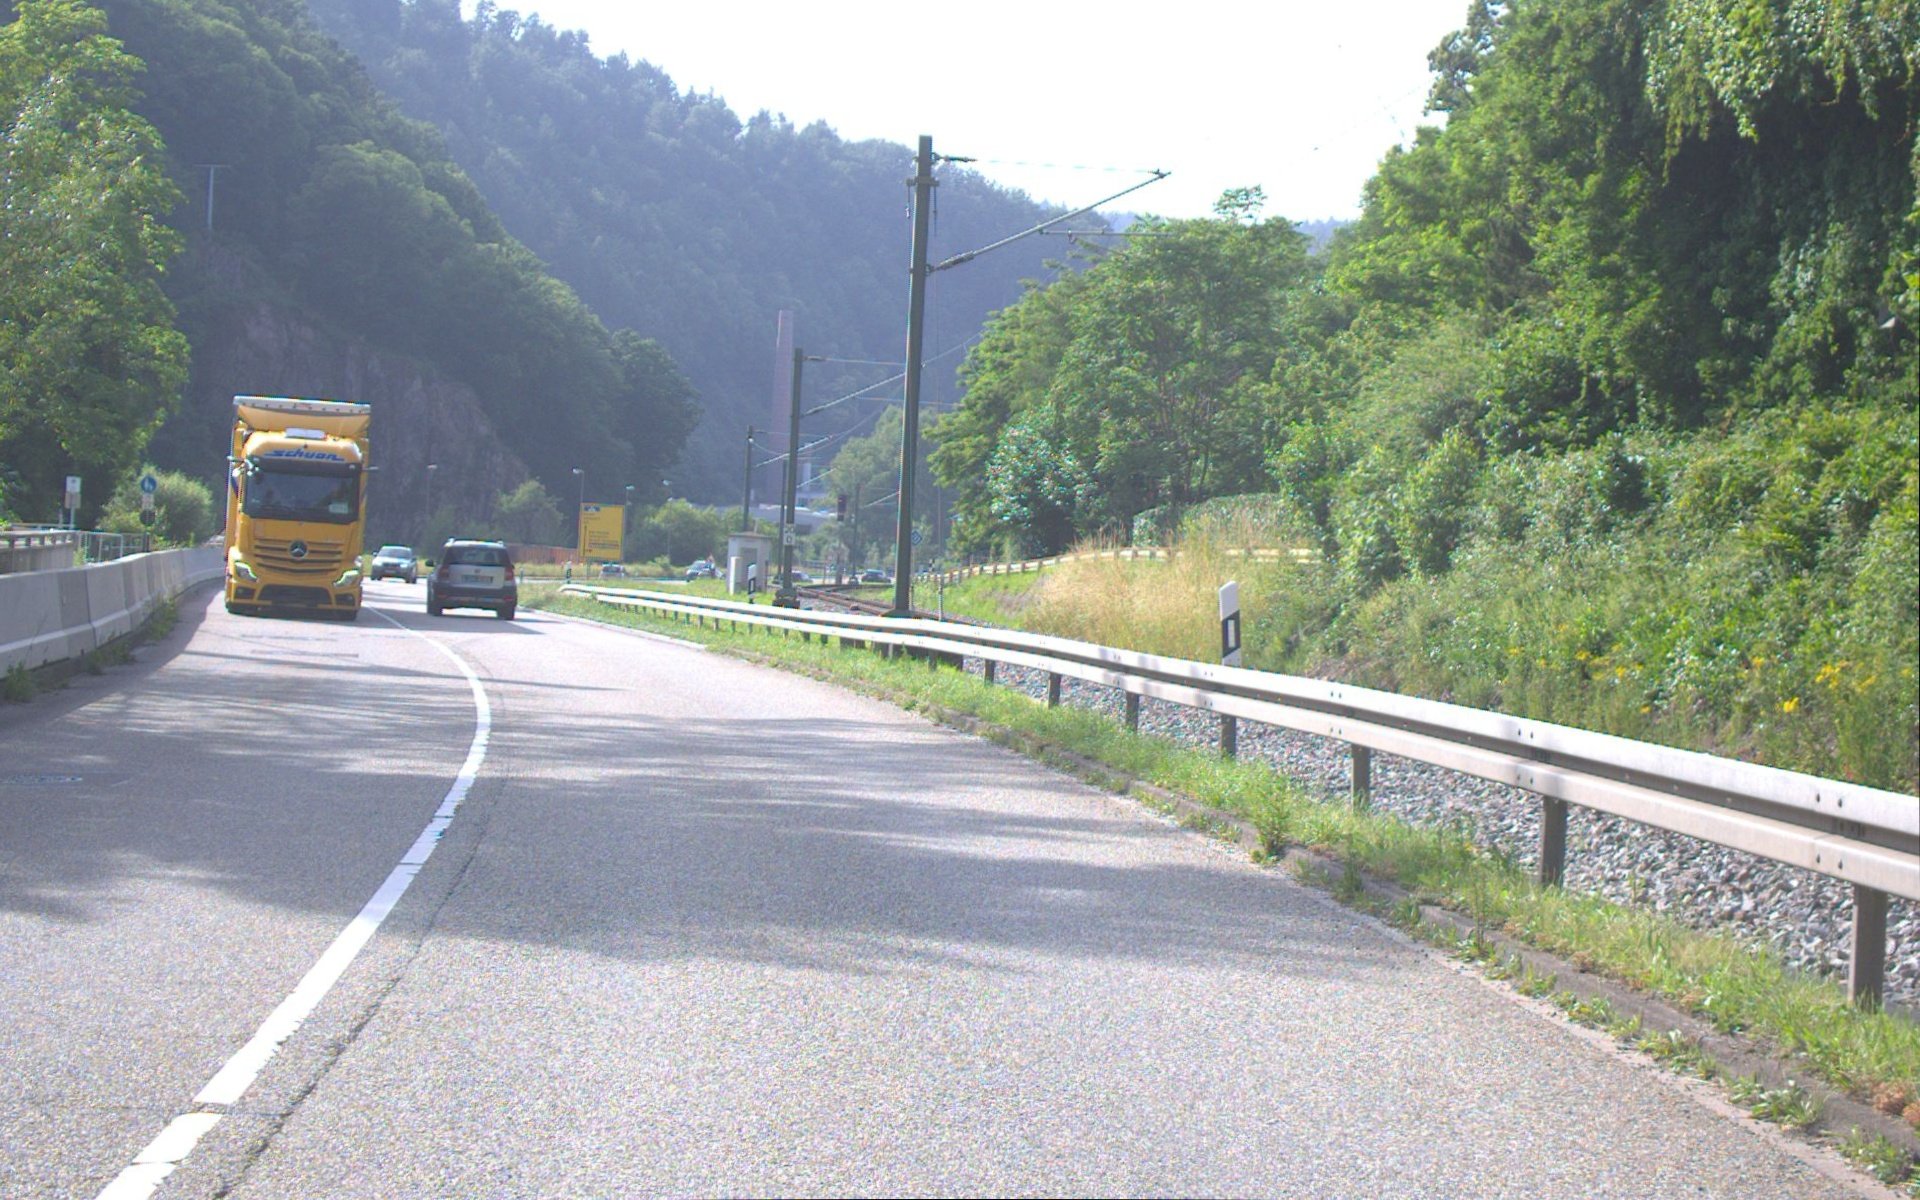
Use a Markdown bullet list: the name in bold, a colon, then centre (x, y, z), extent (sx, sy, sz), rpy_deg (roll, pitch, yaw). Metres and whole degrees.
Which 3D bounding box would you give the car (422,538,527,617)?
- **car**: centre (-10.557, -0.496, 74.616), extent (1.872, 1.650, 4.001), rpy_deg (1, 0, -13)

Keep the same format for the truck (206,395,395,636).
- **truck**: centre (-13.131, -1.584, 68.949), extent (3.368, 4.368, 12.712), rpy_deg (0, 0, -10)

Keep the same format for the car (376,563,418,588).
- **car**: centre (-26.518, -1.169, 162.022), extent (1.472, 1.081, 3.273), rpy_deg (4, 0, -2)
